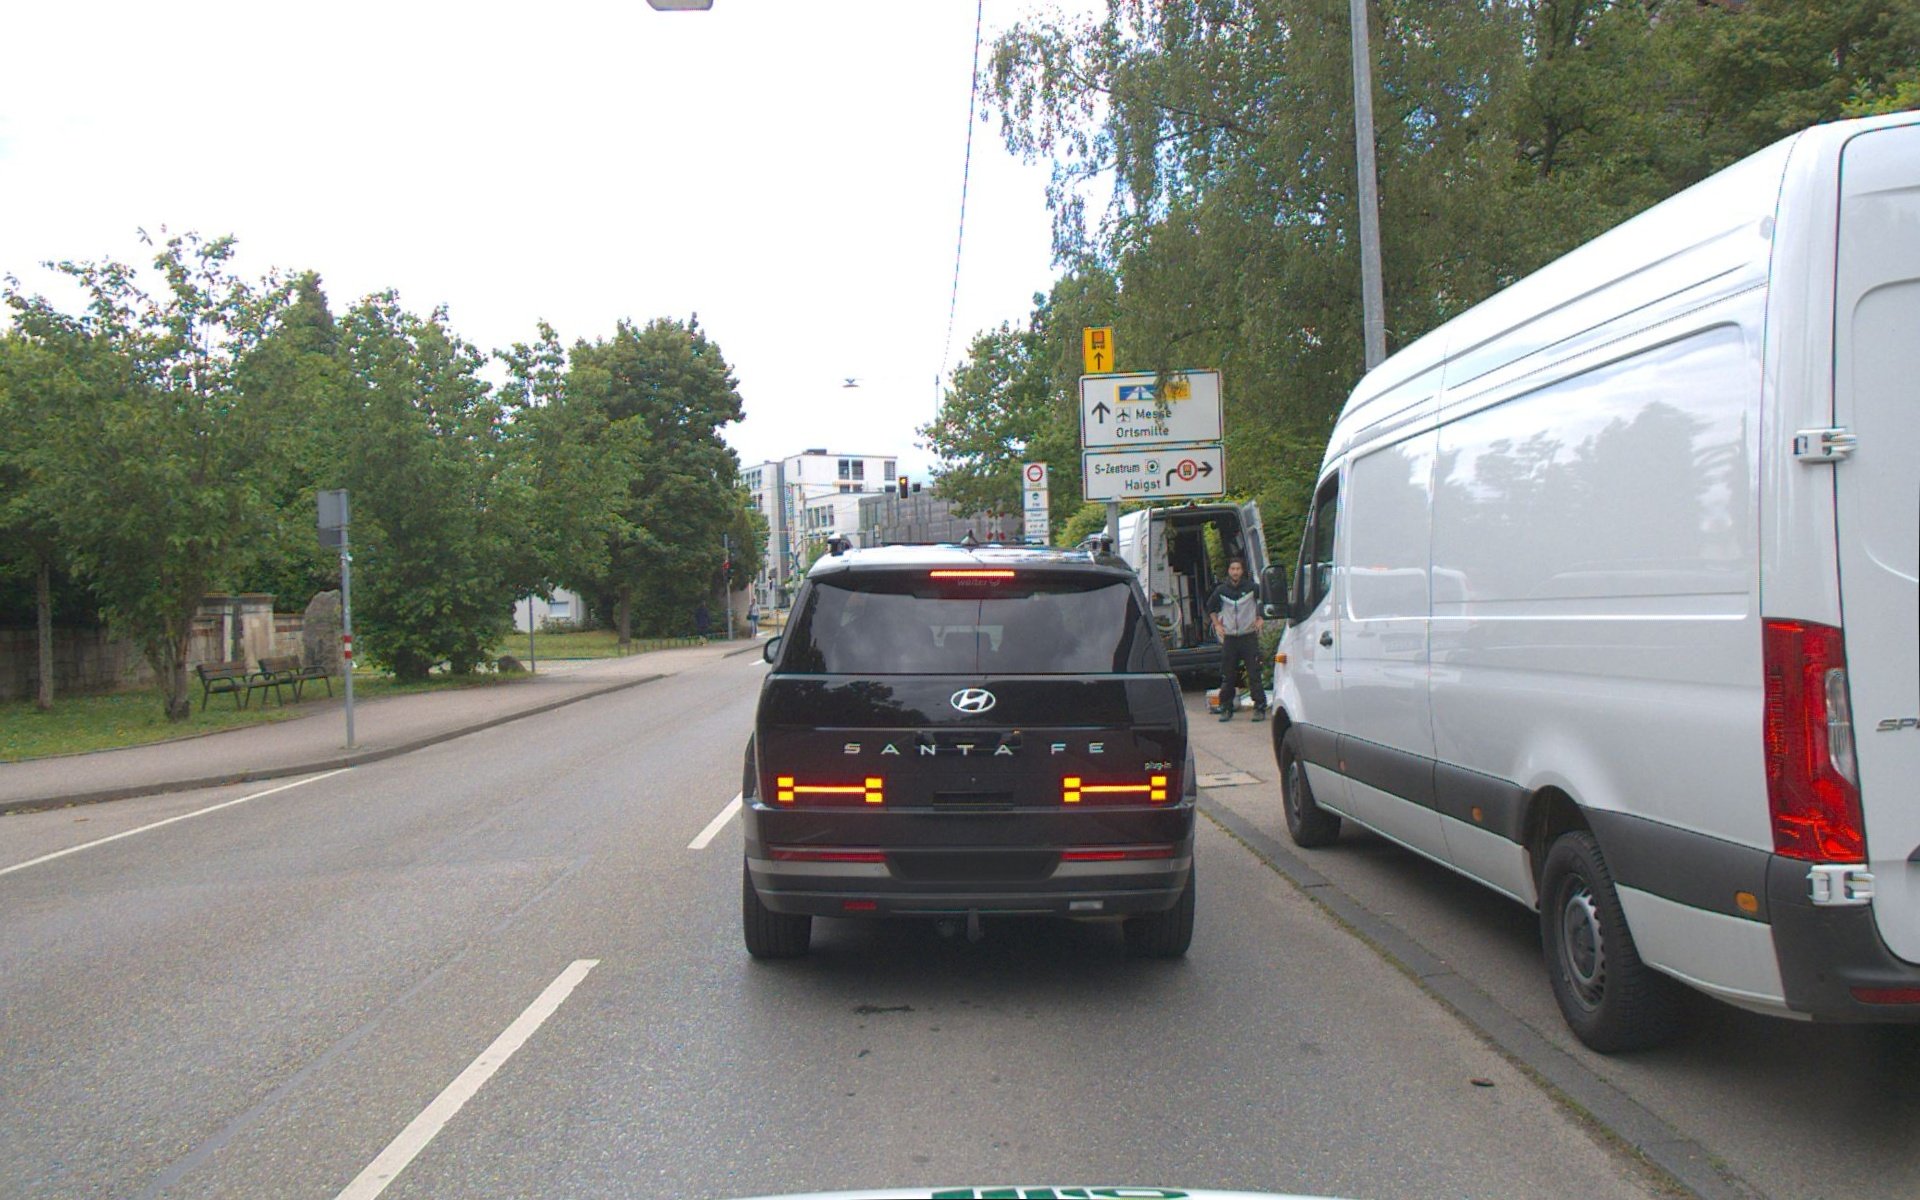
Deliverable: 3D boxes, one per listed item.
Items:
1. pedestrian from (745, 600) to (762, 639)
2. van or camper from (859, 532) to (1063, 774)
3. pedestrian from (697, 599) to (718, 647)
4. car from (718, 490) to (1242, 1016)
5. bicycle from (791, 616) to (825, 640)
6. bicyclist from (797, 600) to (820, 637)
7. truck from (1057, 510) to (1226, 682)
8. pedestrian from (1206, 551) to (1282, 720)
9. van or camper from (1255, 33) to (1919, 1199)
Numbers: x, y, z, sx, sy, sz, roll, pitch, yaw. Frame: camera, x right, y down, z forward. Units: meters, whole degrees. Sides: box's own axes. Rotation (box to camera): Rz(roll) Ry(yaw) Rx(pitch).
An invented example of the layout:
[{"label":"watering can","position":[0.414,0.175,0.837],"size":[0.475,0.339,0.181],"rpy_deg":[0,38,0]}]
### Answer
[{"label":"pedestrian","position":[-9.214,0.867,73.840],"size":[0.724,1.745,0.791],"rpy_deg":[-2,0,-8]},{"label":"van or camper","position":[-0.020,0.459,16.380],"size":[1.719,2.049,3.999],"rpy_deg":[-2,0,-1]},{"label":"pedestrian","position":[-9.319,0.830,61.052],"size":[0.724,1.745,0.791],"rpy_deg":[-2,0,-8]},{"label":"car","position":[0.043,0.535,7.846],"size":[1.851,1.851,3.999],"rpy_deg":[0,0,-1]},{"label":"bicycle","position":[-7.192,1.311,78.170],"size":[0.692,1.112,1.749],"rpy_deg":[2,-1,-41]},{"label":"bicyclist","position":[-7.148,0.872,78.137],"size":[0.712,1.721,0.818],"rpy_deg":[2,-1,-41]},{"label":"truck","position":[3.030,-0.048,28.833],"size":[1.904,2.606,5.211],"rpy_deg":[-3,0,-4]},{"label":"pedestrian","position":[3.183,0.387,18.476],"size":[0.741,1.828,0.873],"rpy_deg":[-2,0,13]},{"label":"van or camper","position":[2.902,0.006,7.076],"size":[1.953,2.665,6.540],"rpy_deg":[-2,0,-1]}]
